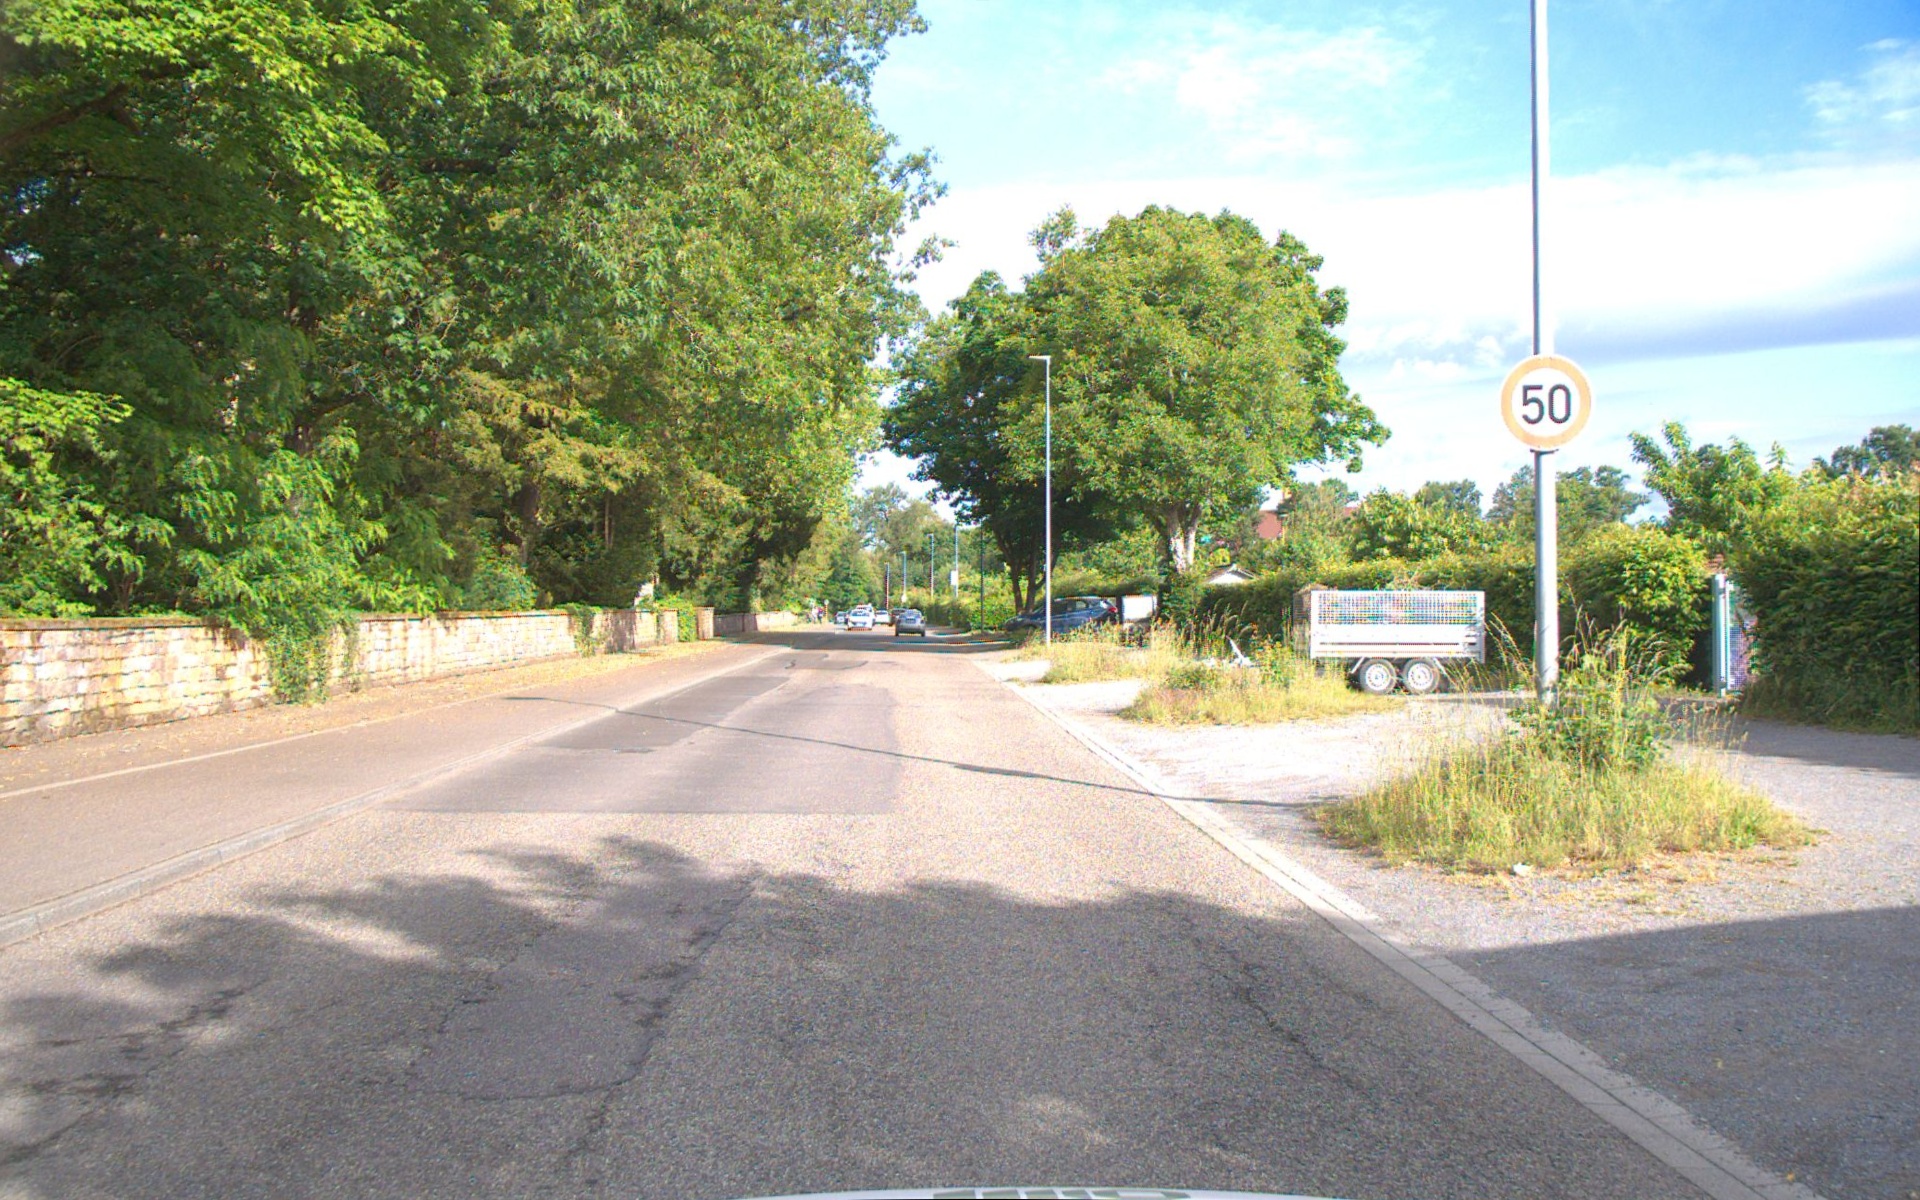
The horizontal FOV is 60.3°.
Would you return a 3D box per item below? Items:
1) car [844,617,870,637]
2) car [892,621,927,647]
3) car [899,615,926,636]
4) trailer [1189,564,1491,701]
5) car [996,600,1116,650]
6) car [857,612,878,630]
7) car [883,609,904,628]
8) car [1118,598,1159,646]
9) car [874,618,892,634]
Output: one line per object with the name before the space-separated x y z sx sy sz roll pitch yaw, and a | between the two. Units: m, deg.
car | -7.418 1.927 118.928 1.849 1.396 4.050 0 -1 -5
car | -2.836 1.877 92.672 1.849 1.396 4.051 0 -1 -3
car | -3.467 1.877 120.596 1.849 1.490 4.051 0 -1 -3
trailer | 5.601 0.474 24.782 4.066 1.867 1.916 -1 -1 1
car | 3.623 0.946 63.037 4.315 1.675 1.999 -3 -1 -2
car | -8.327 1.898 148.512 1.849 1.592 4.051 0 -1 -3
car | -5.912 1.631 147.156 1.849 1.641 4.051 0 -1 -3
car | 6.621 0.793 61.212 1.322 1.661 4.115 -3 0 8
car | -8.112 2.675 173.660 1.849 1.641 4.051 0 -1 -3
